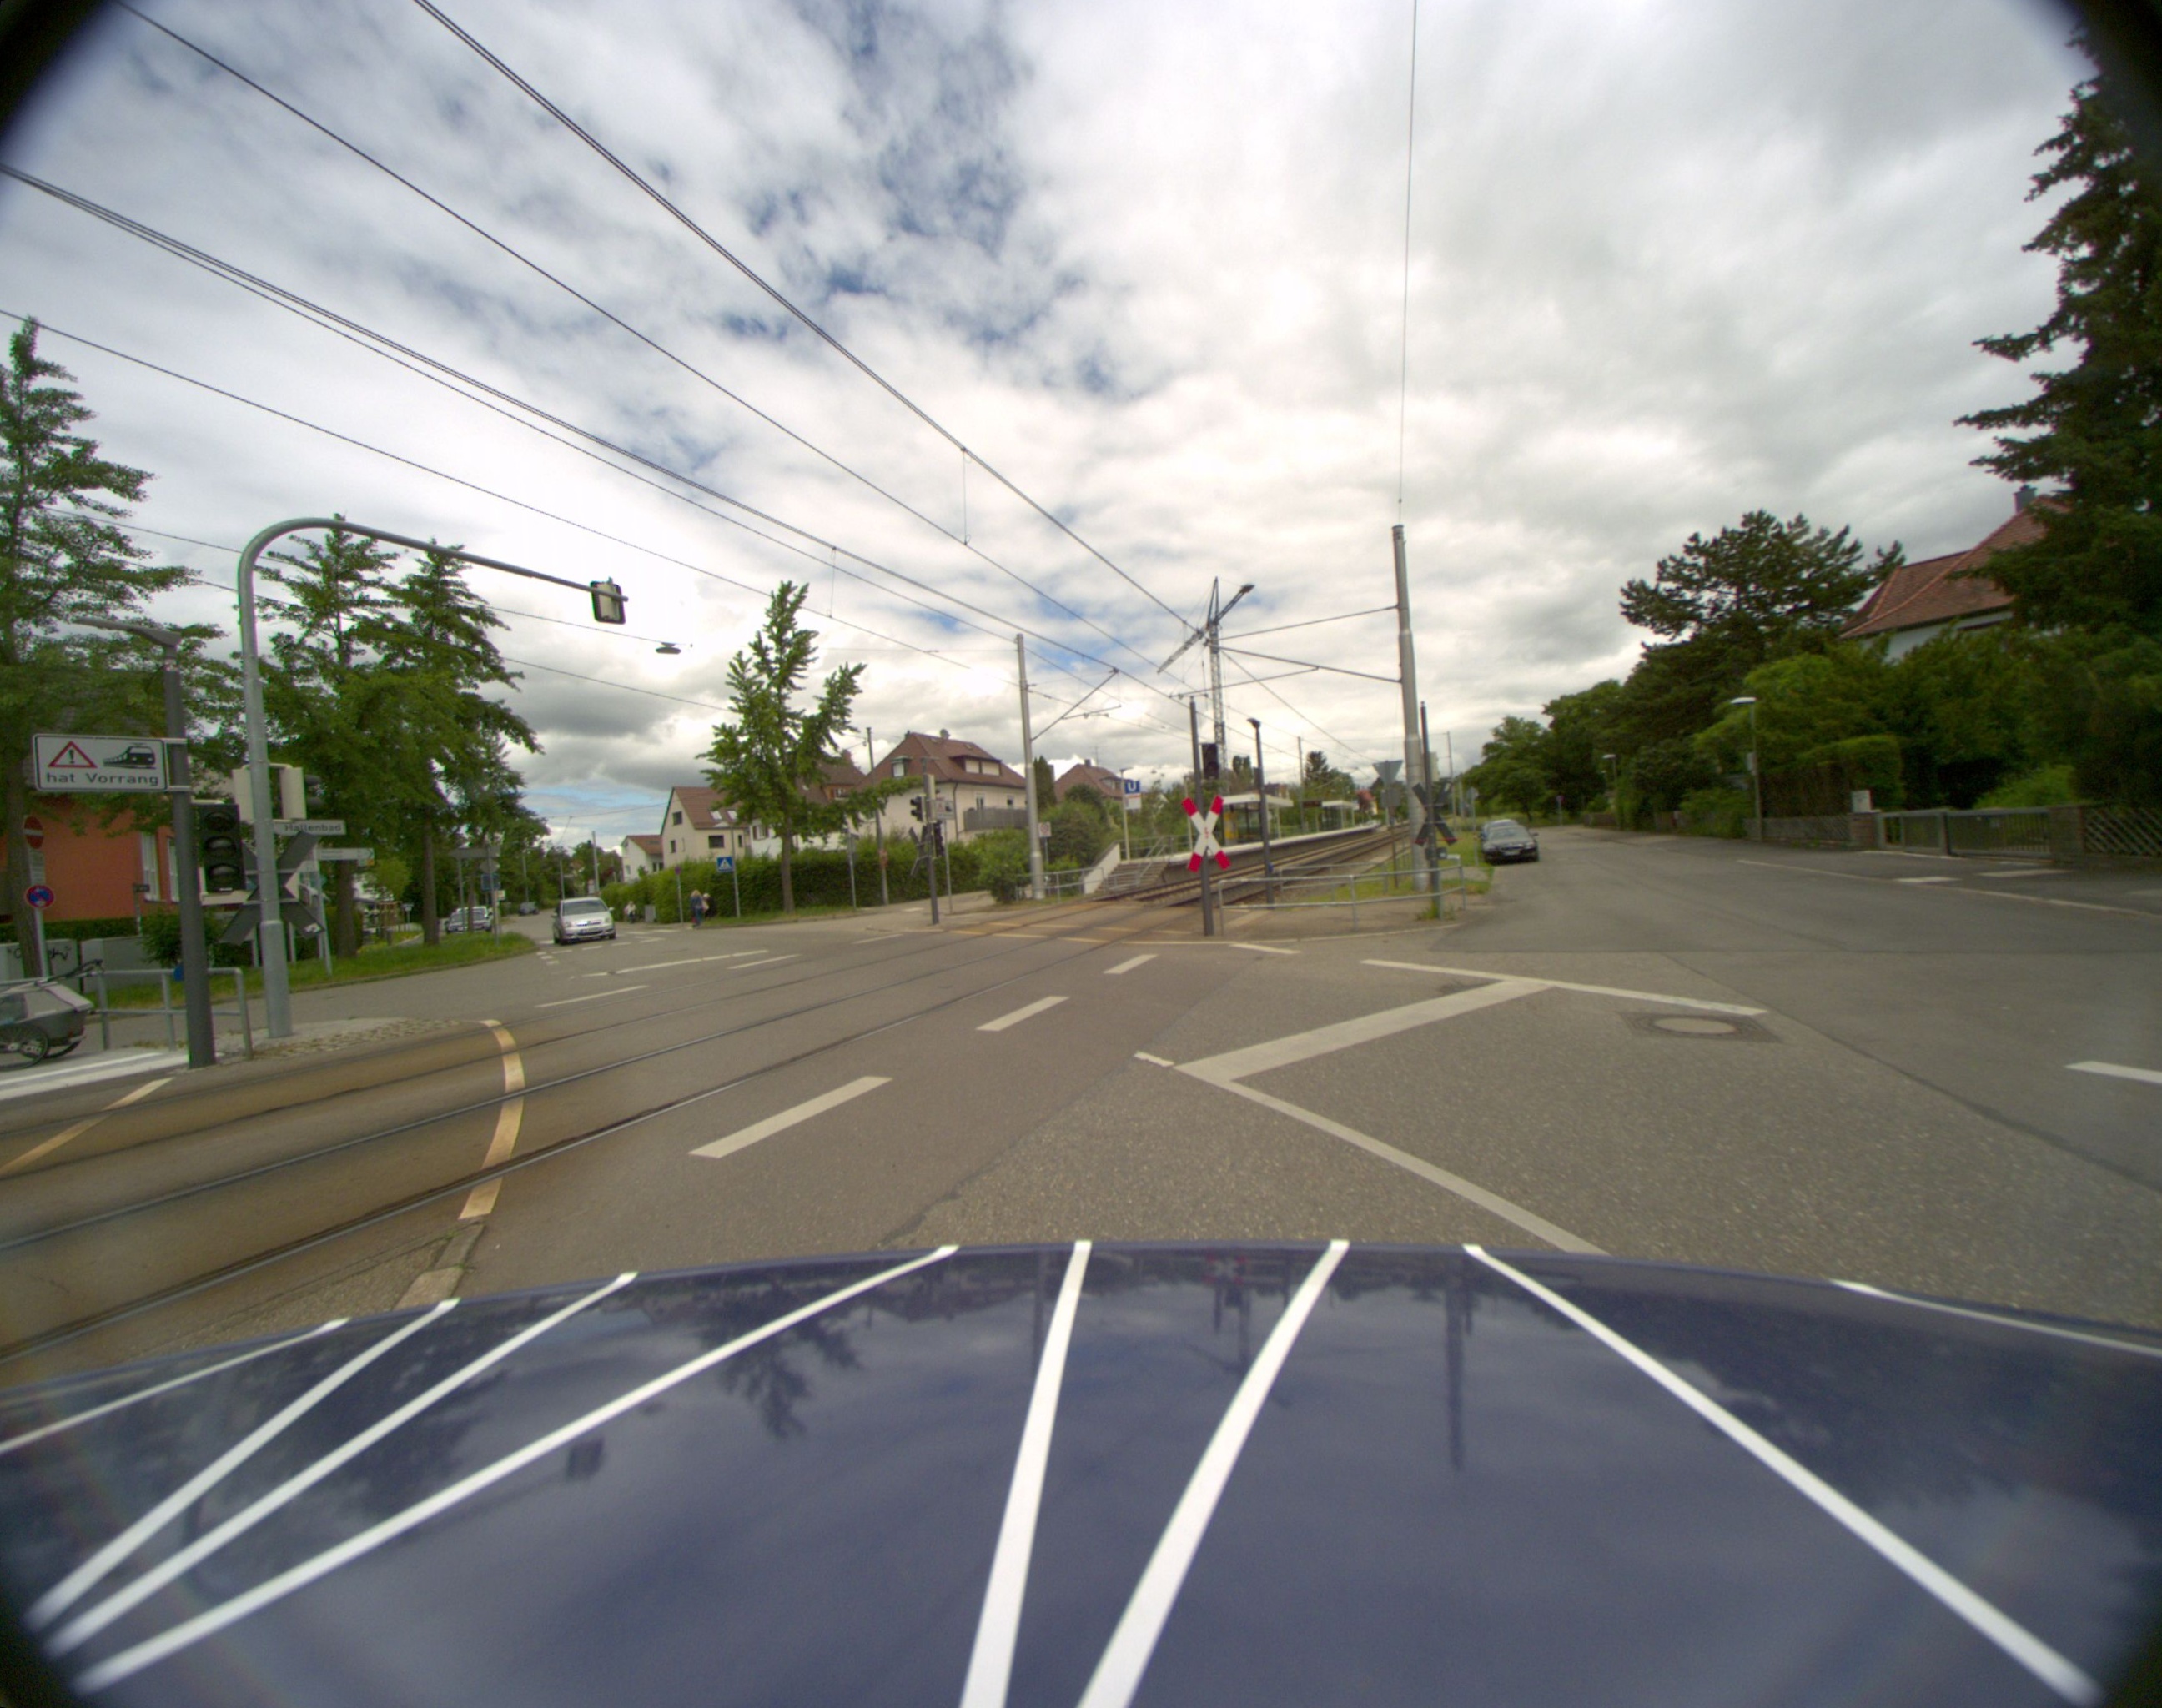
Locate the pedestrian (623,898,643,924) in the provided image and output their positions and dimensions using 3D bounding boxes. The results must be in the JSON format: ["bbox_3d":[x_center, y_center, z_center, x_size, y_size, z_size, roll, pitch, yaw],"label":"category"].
[{"bbox_3d":[-27.556,3.502,46.733,0.543,1.522,0.750,-5,1,38],"label":"pedestrian"}]

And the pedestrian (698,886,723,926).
[{"bbox_3d":[-16.174,2.266,33.167,0.598,1.611,0.677,-7,2,-8],"label":"pedestrian"}]

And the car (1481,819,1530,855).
[{"bbox_3d":[20.305,-0.826,36.431,1.850,1.472,4.006,-5,0,28],"label":"car"}]

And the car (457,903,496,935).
[{"bbox_3d":[-44.430,4.741,55.787,2.003,2.002,5.554,-7,1,-40],"label":"car"}]

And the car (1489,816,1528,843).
[{"bbox_3d":[25.445,-1.463,45.356,1.850,1.368,4.006,-5,0,28],"label":"car"}]

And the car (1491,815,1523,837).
[{"bbox_3d":[30.753,-2.024,54.956,1.850,1.368,4.006,-5,0,28],"label":"car"}]

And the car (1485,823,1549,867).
[{"bbox_3d":[17.238,-0.393,30.232,1.818,1.493,4.125,-5,0,26],"label":"car"}]

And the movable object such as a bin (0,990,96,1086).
[{"bbox_3d":[-11.011,1.913,7.724,1.096,0.820,0.578,-5,1,-44],"label":"movable object such as a bin"}]

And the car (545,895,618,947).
[{"bbox_3d":[-18.120,2.386,27.475,1.730,1.559,3.918,-5,0,-39],"label":"car"}]

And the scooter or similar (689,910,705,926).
[{"bbox_3d":[-16.619,2.779,32.915,0.400,0.606,0.488,-7,2,-8],"label":"scooter or similar"}]

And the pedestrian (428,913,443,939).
[{"bbox_3d":[-44.389,4.938,52.246,0.679,1.659,0.658,-4,-1,-39],"label":"pedestrian"}]

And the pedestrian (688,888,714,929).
[{"bbox_3d":[-16.133,2.300,32.255,0.598,1.611,0.677,-7,2,-8],"label":"pedestrian"}]

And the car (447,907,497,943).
[{"bbox_3d":[-33.674,3.883,41.970,1.856,1.627,4.455,-6,1,-41],"label":"car"}]
